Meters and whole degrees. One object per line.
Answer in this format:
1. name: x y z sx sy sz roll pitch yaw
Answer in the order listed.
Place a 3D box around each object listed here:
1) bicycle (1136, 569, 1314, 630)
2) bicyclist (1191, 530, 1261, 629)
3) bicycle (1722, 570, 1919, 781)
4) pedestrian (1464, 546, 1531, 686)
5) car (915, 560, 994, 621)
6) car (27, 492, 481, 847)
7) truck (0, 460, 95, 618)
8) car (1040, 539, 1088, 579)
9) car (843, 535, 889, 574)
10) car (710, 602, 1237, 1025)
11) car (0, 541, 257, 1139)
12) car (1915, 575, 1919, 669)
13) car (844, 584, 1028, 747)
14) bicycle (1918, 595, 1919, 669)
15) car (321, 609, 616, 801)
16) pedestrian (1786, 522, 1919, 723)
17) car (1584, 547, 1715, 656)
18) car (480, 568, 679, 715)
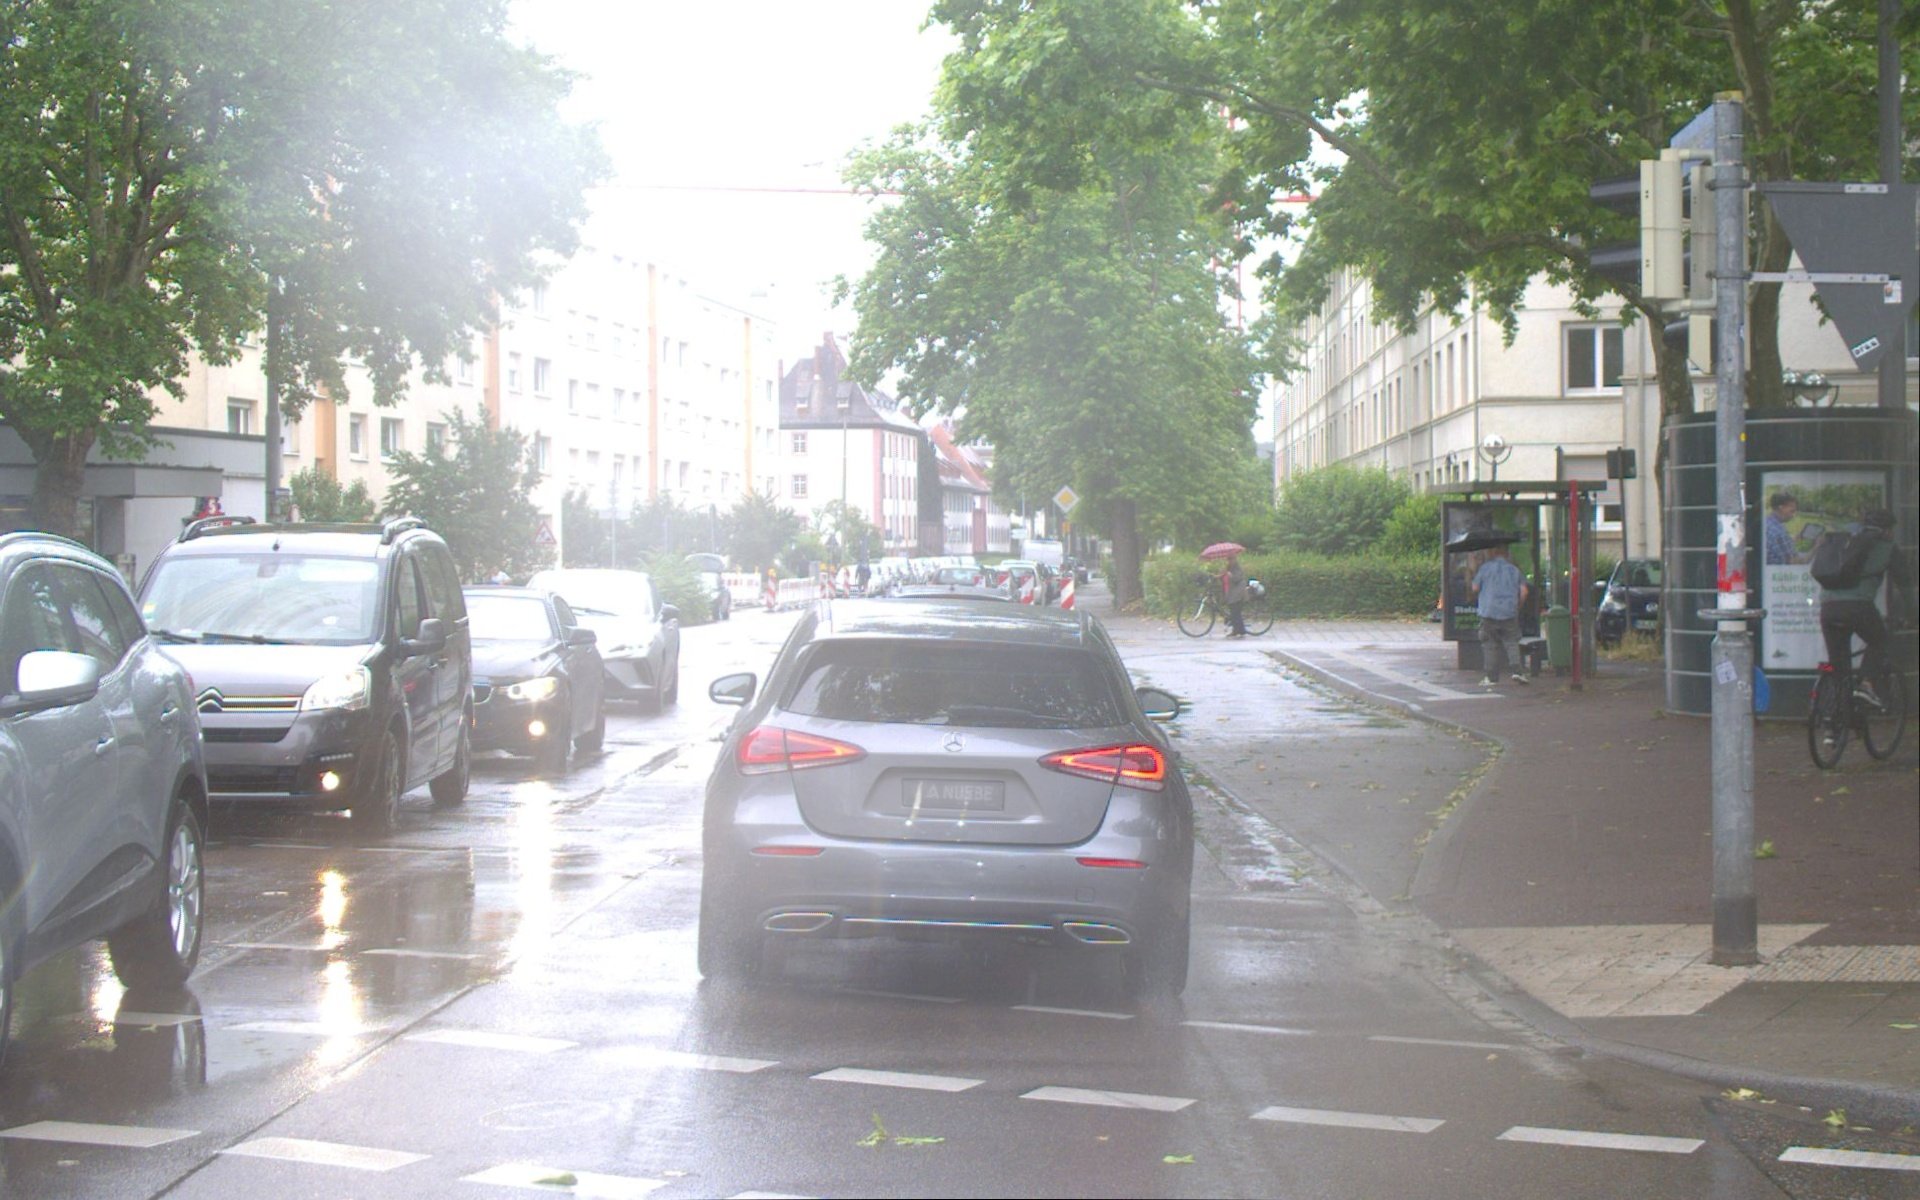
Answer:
1. bicycle: 5.044 -0.010 65.371 3.205 1.108 1.054 -1 0 -19
2. bicyclist: 5.046 -0.387 65.318 0.938 1.862 1.143 -1 0 -19
3. bicycle: 6.422 0.501 24.488 0.751 1.372 2.701 -1 1 40
4. pedestrian: 6.446 0.186 41.256 0.716 1.663 0.665 0 0 3
5. car: -0.163 -0.272 91.515 1.993 1.568 4.000 0 0 -1
6. car: -3.998 0.338 20.137 1.806 1.855 4.109 0 1 0
7. truck: -23.499 -1.402 80.853 5.682 3.632 2.175 0 0 4
8. car: 4.847 -1.908 159.781 2.047 1.830 4.791 0 0 3
9. car: -4.548 -2.212 167.437 1.890 1.830 4.000 0 0 3
10. car: 0.030 0.738 13.580 1.791 1.368 3.507 1 1 -1
11. car: -3.447 0.629 10.590 1.742 1.598 4.000 0 1 0
12. car: 14.857 0.340 49.688 1.584 1.332 3.258 -1 -2 24
13. car: -0.230 0.571 32.514 1.607 1.368 4.000 -1 1 -1
14. bicycle: 13.785 0.419 45.128 2.284 0.979 0.545 0 1 23
15. car: -3.871 0.787 27.722 1.742 1.385 4.362 1 0 0
16. pedestrian: 6.499 0.148 24.582 0.746 1.393 1.045 -1 1 40
17. car: 10.343 0.052 51.451 1.689 1.546 3.520 0 -1 15
18. car: -4.129 0.410 37.863 1.845 1.505 4.056 0 1 -2
